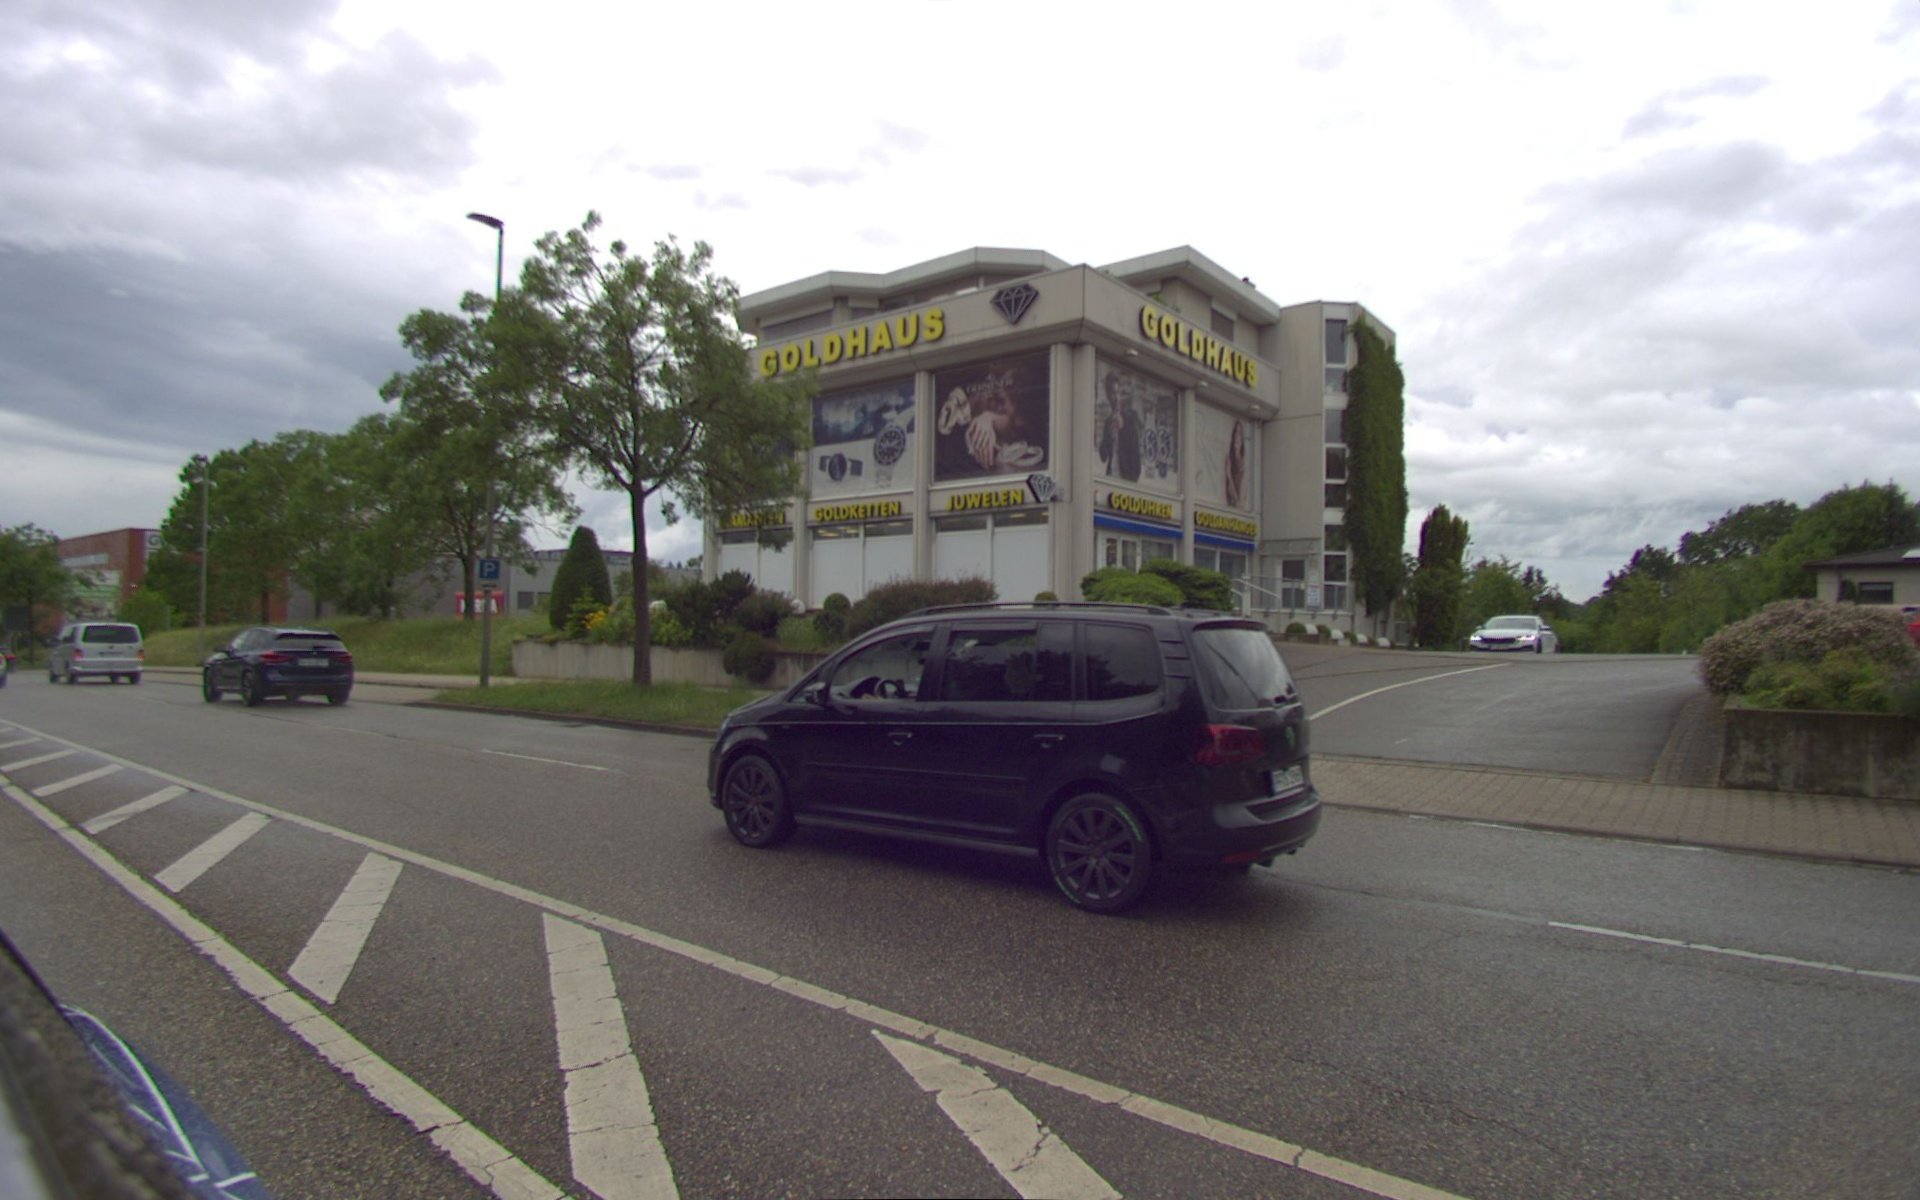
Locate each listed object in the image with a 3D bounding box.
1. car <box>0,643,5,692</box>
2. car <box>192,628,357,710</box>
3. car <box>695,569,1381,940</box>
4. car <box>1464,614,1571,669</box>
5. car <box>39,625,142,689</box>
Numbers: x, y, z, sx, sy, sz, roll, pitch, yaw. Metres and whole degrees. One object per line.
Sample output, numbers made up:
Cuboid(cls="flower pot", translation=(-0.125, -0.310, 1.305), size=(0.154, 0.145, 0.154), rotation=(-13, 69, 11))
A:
Cuboid(cls="car", translation=(-29.668, 1.945, 29.806), size=(3.995, 1.409, 1.651), rotation=(-2, -4, 39))
Cuboid(cls="car", translation=(-15.122, 1.478, 22.233), size=(4.528, 1.623, 1.734), rotation=(-2, -4, 39))
Cuboid(cls="car", translation=(0.345, 0.781, 6.570), size=(4.139, 1.690, 1.740), rotation=(-1, -3, 36))
Cuboid(cls="car", translation=(16.559, 1.215, 29.966), size=(1.874, 1.524, 3.946), rotation=(-2, -3, 43))
Cuboid(cls="car", translation=(-29.126, 1.888, 33.849), size=(4.894, 1.998, 1.777), rotation=(-2, -4, 40))
